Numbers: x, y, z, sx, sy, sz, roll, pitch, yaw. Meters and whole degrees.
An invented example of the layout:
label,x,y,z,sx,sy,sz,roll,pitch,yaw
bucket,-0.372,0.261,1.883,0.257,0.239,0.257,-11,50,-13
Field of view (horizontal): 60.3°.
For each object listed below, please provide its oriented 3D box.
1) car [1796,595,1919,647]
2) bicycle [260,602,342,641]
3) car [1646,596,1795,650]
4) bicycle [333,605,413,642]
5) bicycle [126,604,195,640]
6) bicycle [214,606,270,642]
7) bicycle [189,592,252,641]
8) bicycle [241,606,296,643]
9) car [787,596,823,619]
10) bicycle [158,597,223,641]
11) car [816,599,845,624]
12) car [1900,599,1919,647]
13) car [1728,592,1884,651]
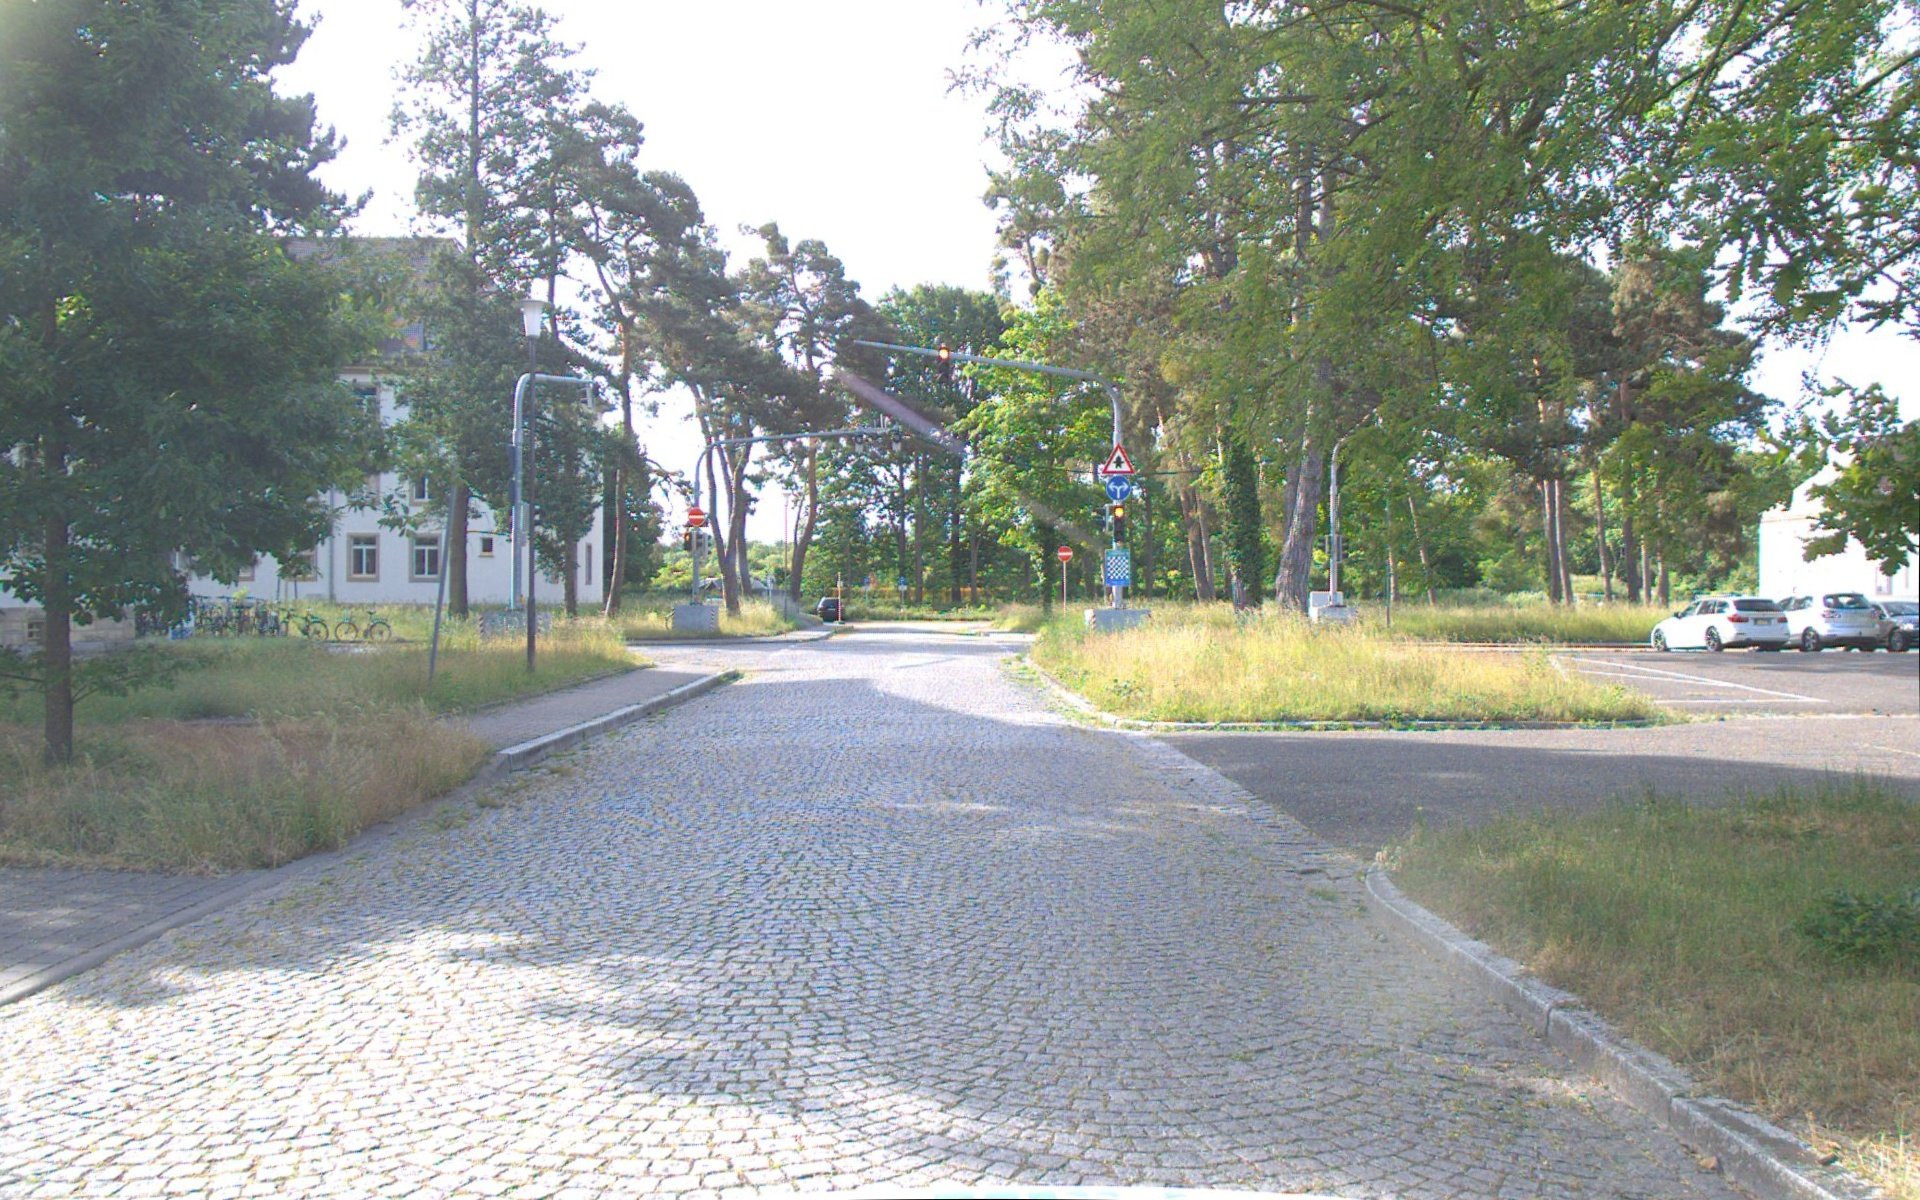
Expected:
label,x,y,z,sx,sy,sz,roll,pitch,yaw
car,24.617,0.525,44.576,1.697,1.335,4.327,0,0,-5
bicycle,-19.410,0.637,48.727,2.076,1.128,0.828,0,0,-5
car,20.017,0.570,43.749,1.697,1.335,4.327,0,0,-5
bicycle,-17.330,0.688,48.887,2.076,1.065,0.828,0,0,-5
bicycle,-24.055,0.651,49.828,0.882,1.065,2.553,0,0,-2
bicycle,-21.636,0.713,49.865,0.809,1.065,2.123,0,0,-2
bicycle,-22.419,0.481,50.182,0.809,1.462,2.553,0,0,-2
bicycle,-20.870,0.733,49.932,0.809,1.065,2.123,0,0,-2
car,-10.424,0.503,111.326,1.745,1.516,3.757,0,0,6
bicycle,-23.170,0.555,49.856,0.809,1.303,2.553,0,0,-2
car,-8.315,0.727,106.491,1.808,1.512,3.997,0,0,-4
car,27.715,0.648,44.882,1.697,1.335,4.327,0,0,-5
car,22.480,0.544,44.134,1.697,1.502,4.327,0,0,-5
